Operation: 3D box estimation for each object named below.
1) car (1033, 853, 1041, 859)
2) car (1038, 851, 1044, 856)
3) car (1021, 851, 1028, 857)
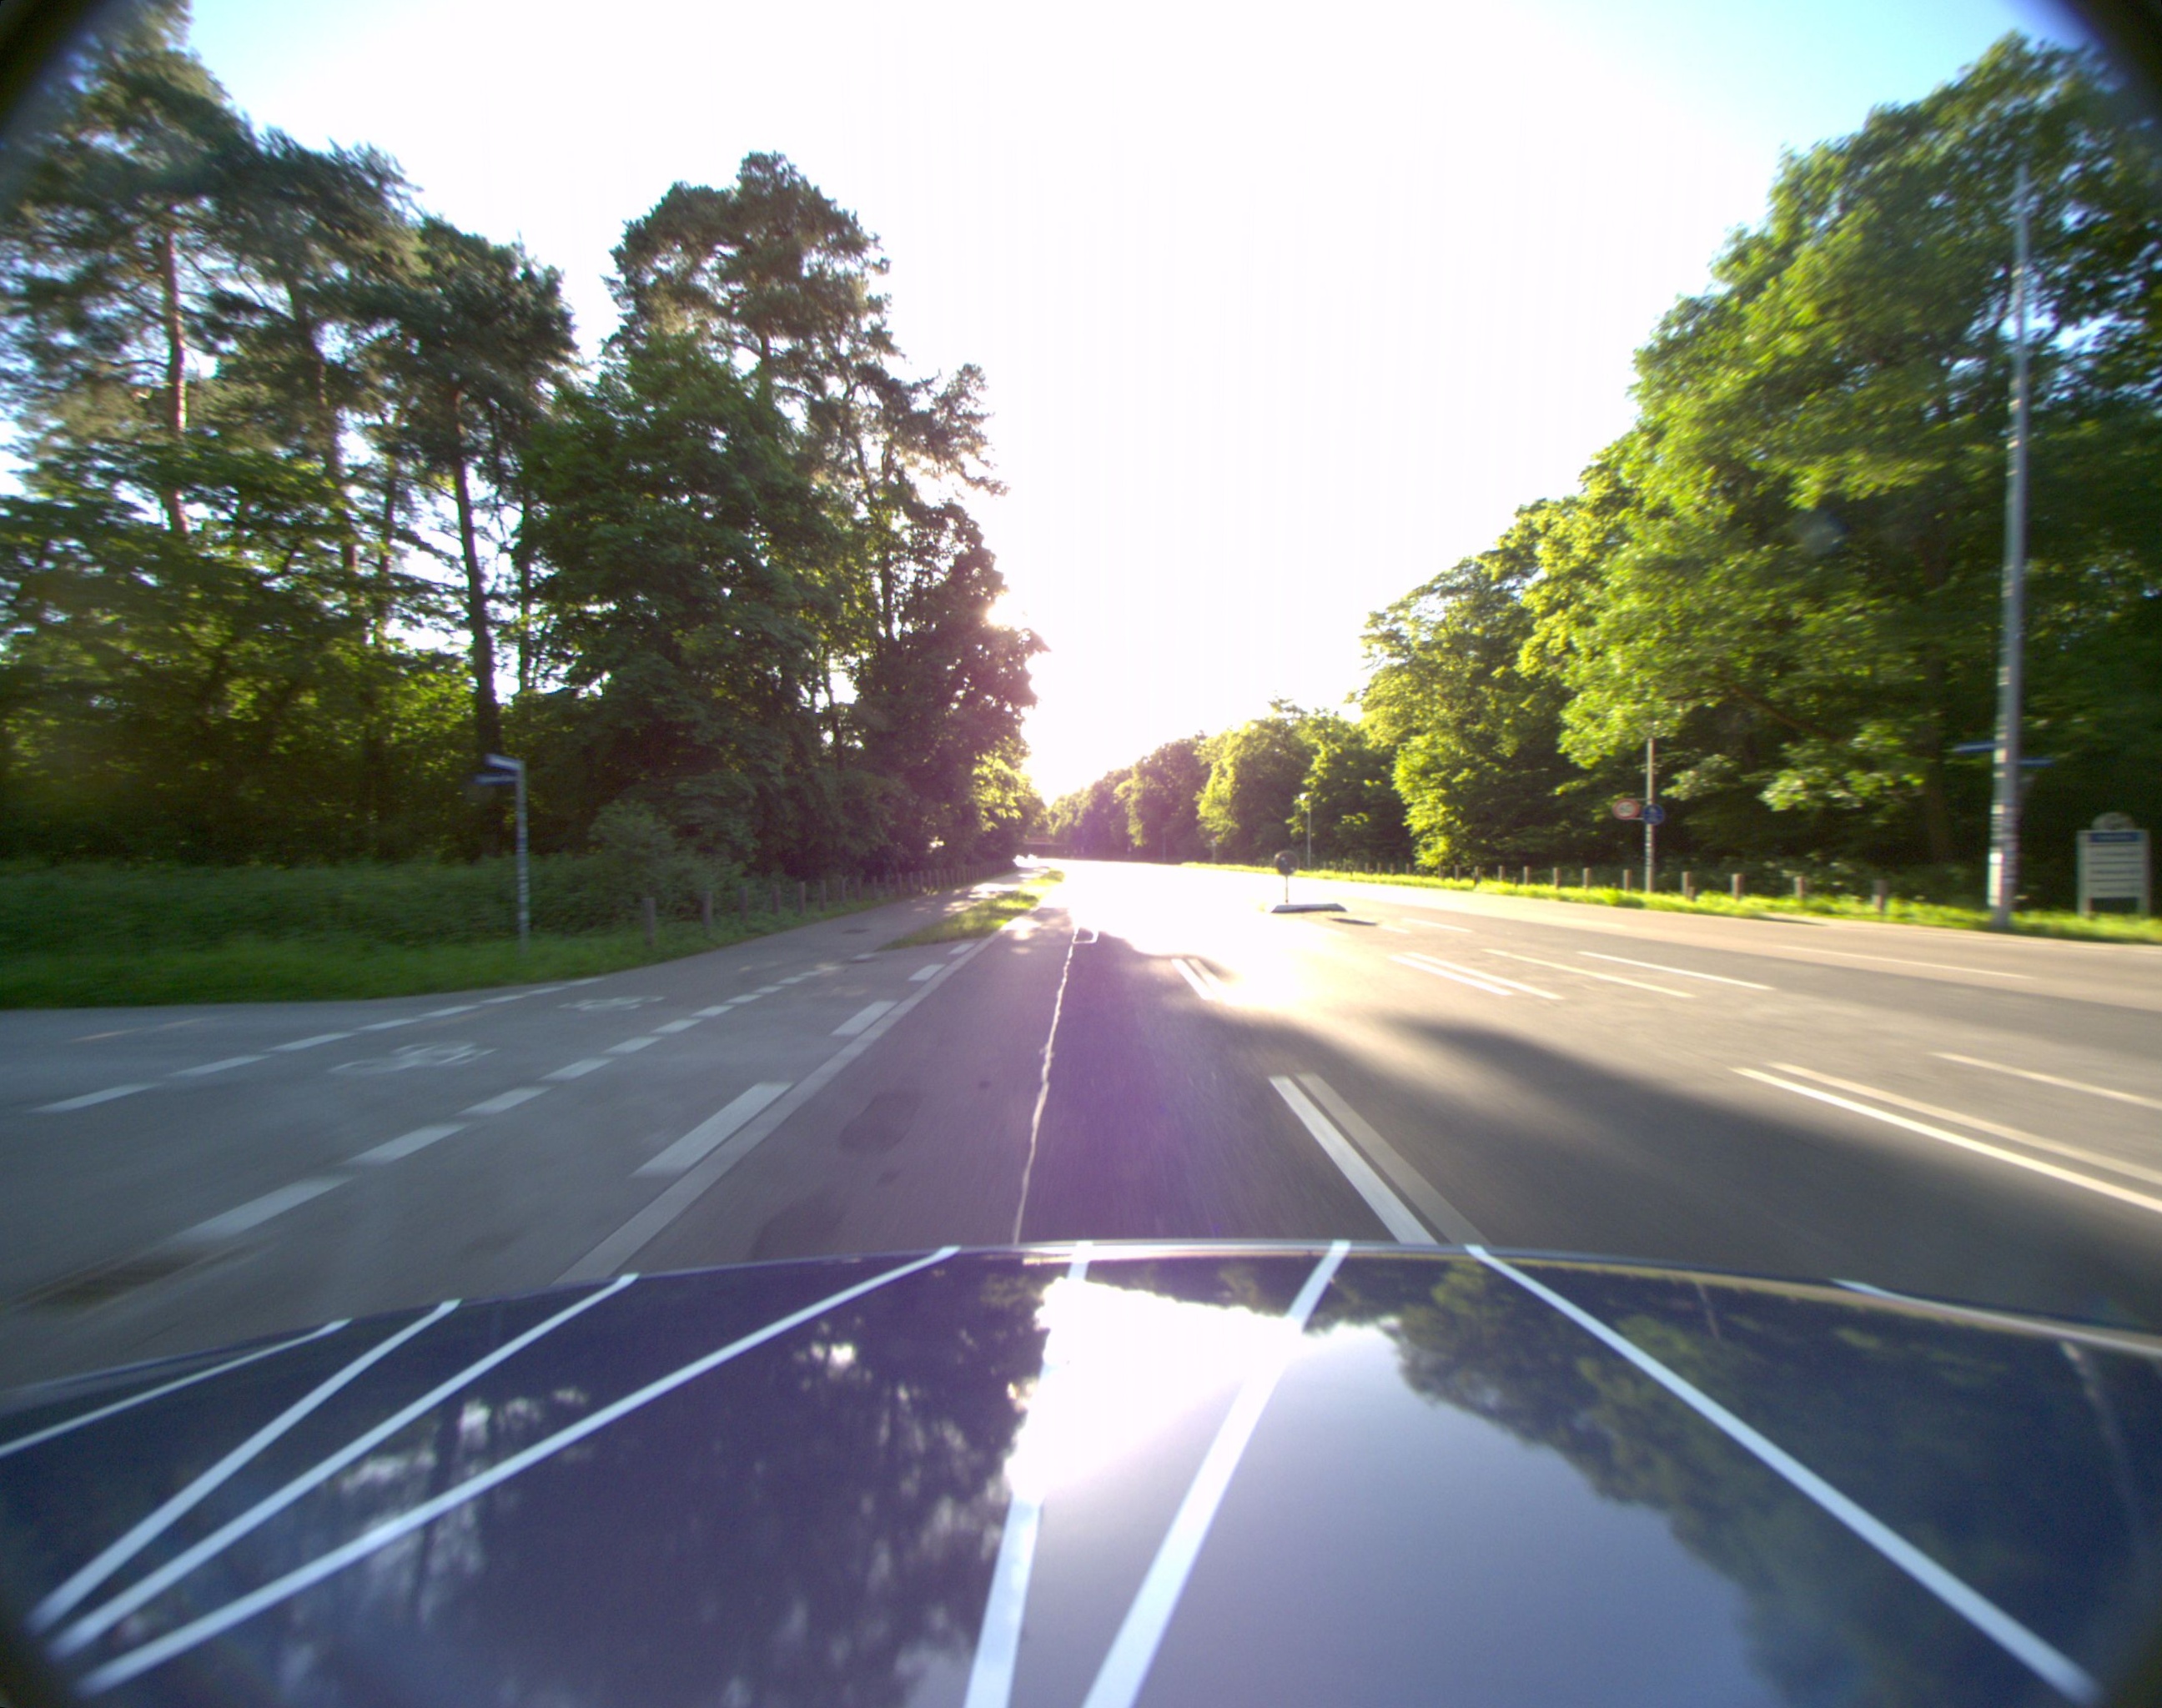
[{"bbox_3d":[-12.906,0.501,223.637,1.828,1.674,3.996,0,0,-10],"label":"car"},{"bbox_3d":[-13.528,-0.213,258.471,1.592,1.429,4.306,-3,0,-7],"label":"car"},{"bbox_3d":[-19.153,0.001,256.347,1.828,1.674,3.996,0,0,-11],"label":"car"}]
